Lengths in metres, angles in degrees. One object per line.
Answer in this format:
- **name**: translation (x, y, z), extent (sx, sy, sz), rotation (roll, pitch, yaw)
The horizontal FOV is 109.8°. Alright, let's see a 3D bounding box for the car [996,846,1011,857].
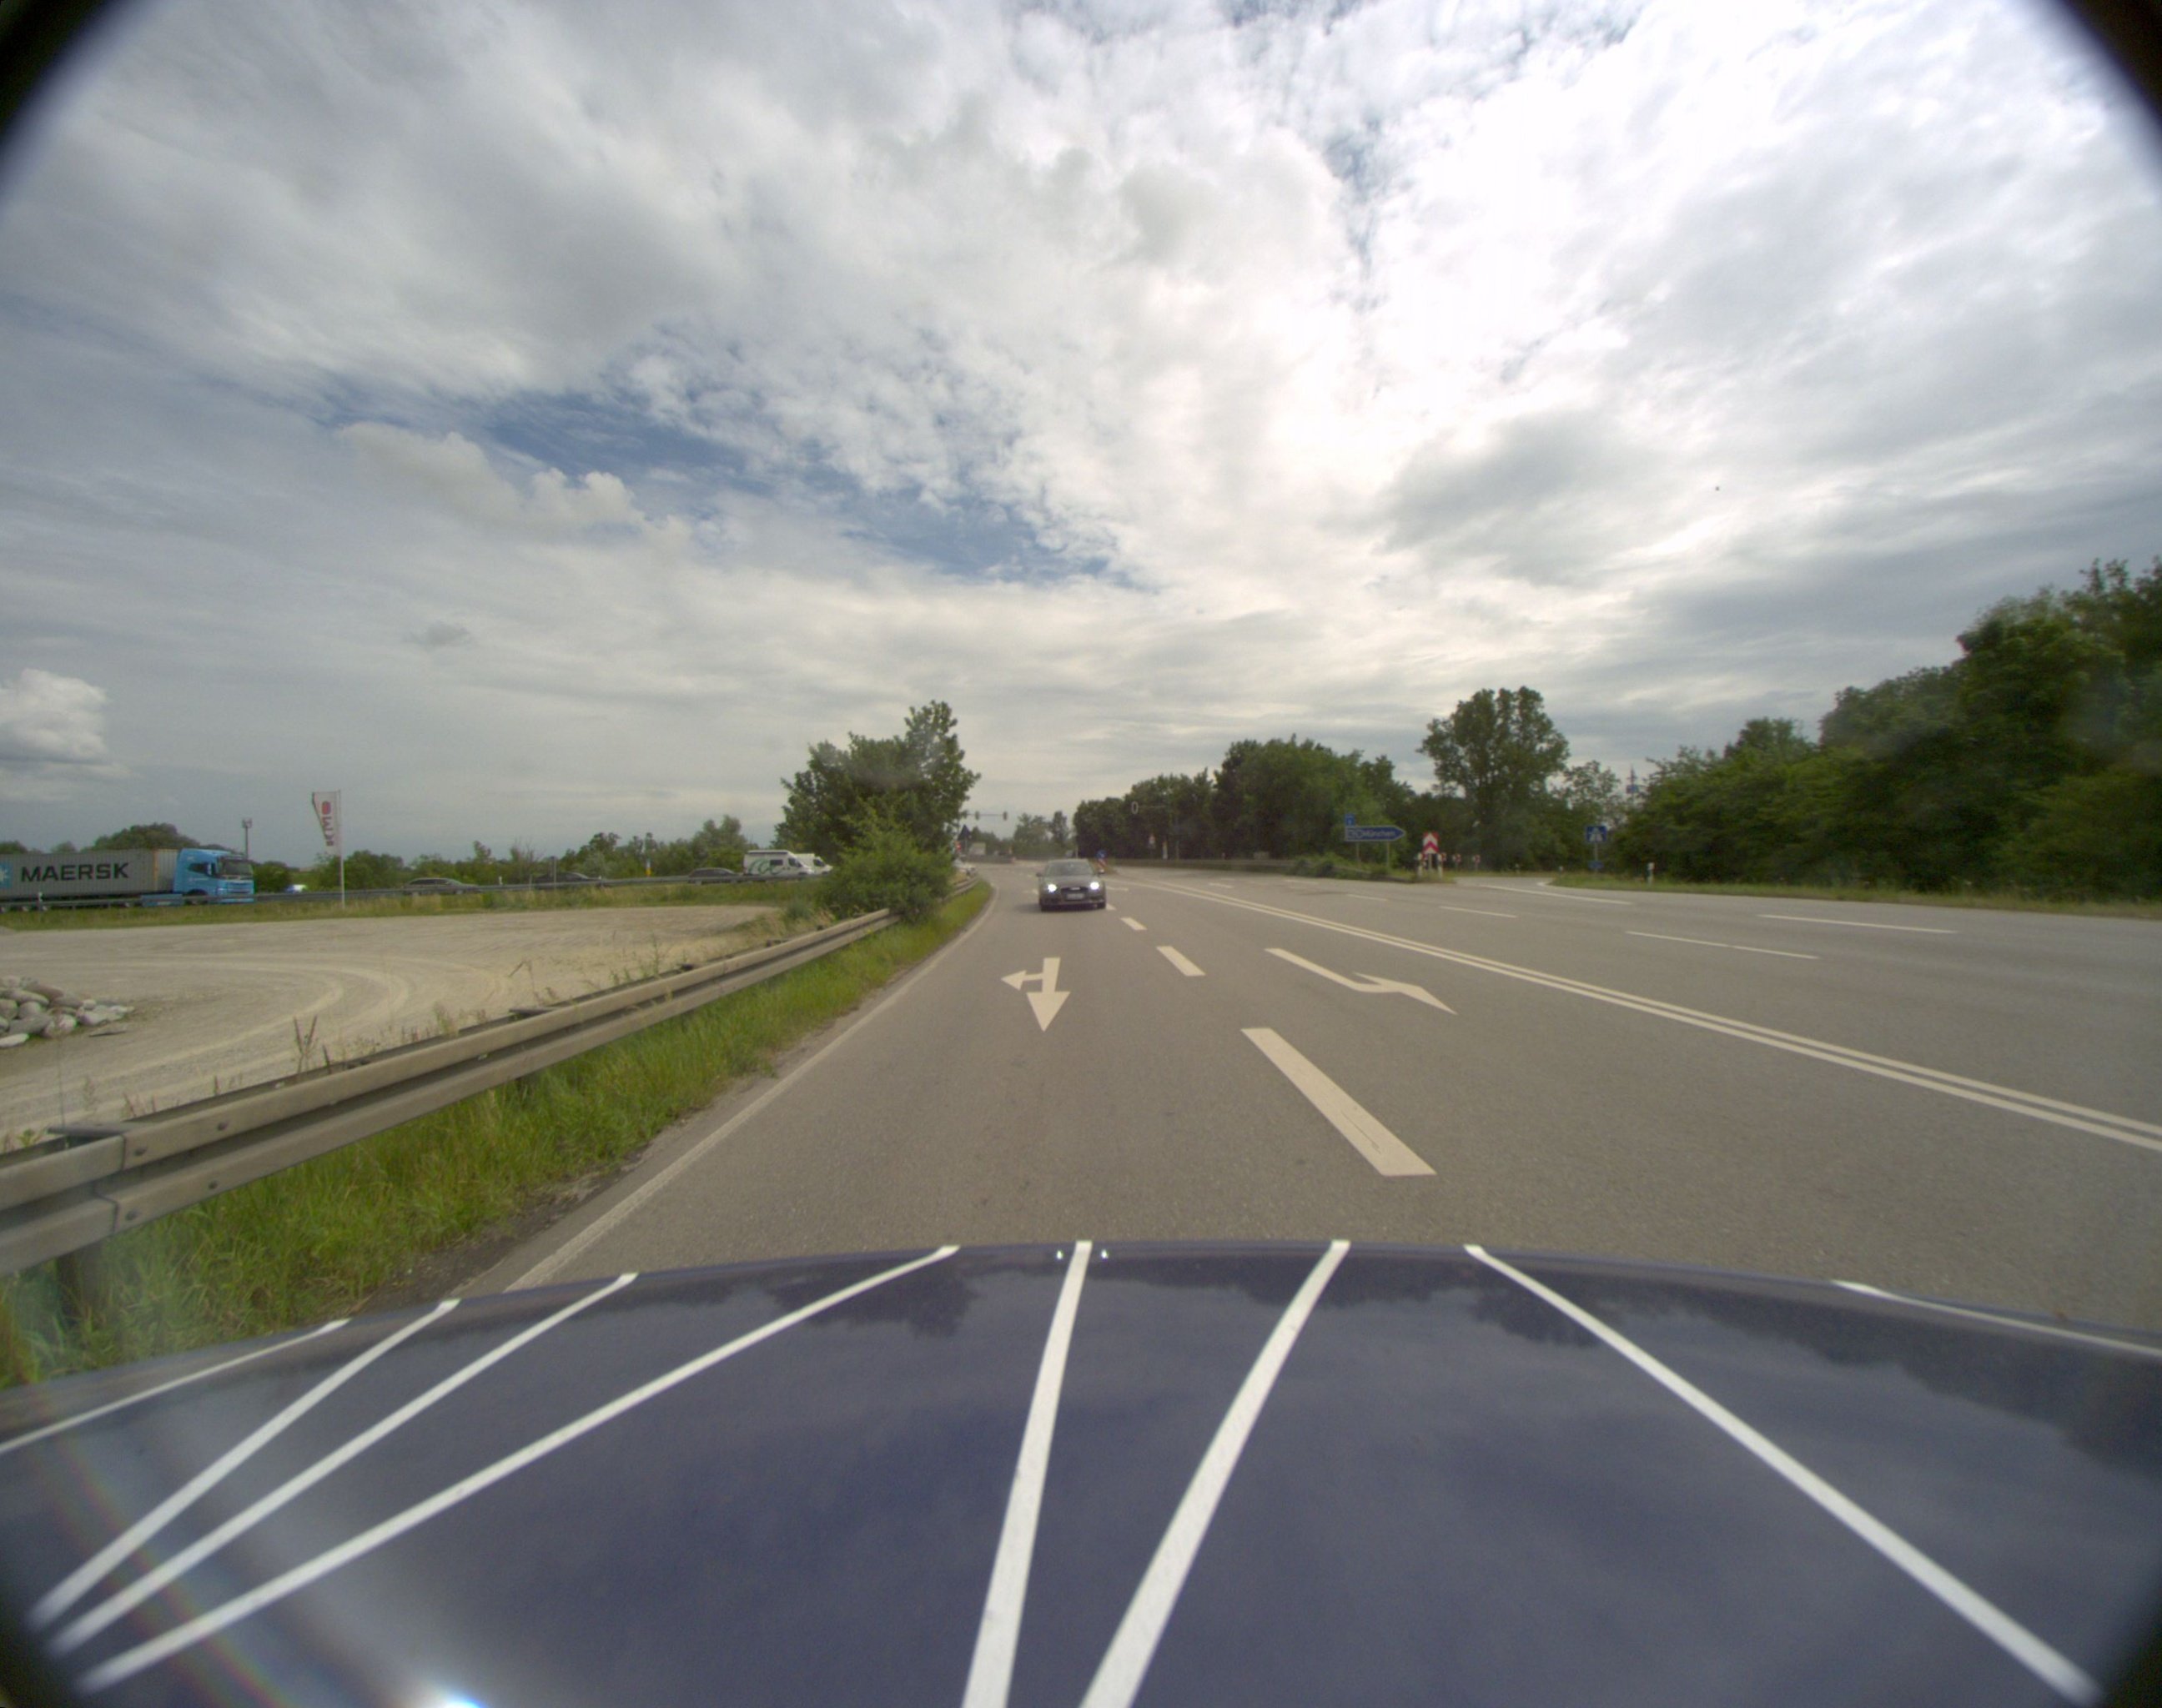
- **car**: translation (-15.152, -0.477, 148.167), extent (2.001, 2.002, 3.994), rotation (-3, 1, -18)

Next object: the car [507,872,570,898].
- **car**: translation (-47.972, 2.707, 67.248), extent (4.001, 2.002, 1.929), rotation (-3, 0, -14)

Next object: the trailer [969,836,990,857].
- **trailer**: translation (-23.476, -1.705, 175.715), extent (3.498, 4.488, 10.932), rotation (-3, 1, -14)

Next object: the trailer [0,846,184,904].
- **trailer**: translation (-67.629, 1.445, 51.158), extent (11.225, 3.290, 2.392), rotation (-3, 0, -1)

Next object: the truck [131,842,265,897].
- **truck**: translation (-59.866, 1.026, 51.646), extent (5.596, 3.285, 2.390), rotation (-3, 0, -8)

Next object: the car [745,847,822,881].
- **car**: translation (-23.985, 0.827, 61.492), extent (5.421, 2.552, 2.457), rotation (-1, 0, -14)

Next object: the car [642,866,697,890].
- **car**: translation (-37.881, 2.196, 70.035), extent (4.001, 2.002, 1.929), rotation (-3, 0, -14)

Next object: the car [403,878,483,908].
- **car**: translation (-46.495, 2.838, 55.445), extent (4.002, 2.001, 1.929), rotation (-1, 0, -14)

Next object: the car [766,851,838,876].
- **car**: translation (-25.256, 0.839, 68.996), extent (5.900, 2.002, 2.059), rotation (-3, 0, -14)

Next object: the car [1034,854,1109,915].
- **car**: translation (-0.346, 0.826, 22.647), extent (1.958, 1.527, 3.998), rotation (-3, 1, -3)

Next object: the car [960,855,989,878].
- **car**: translation (-8.091, 0.924, 58.073), extent (2.021, 1.603, 4.278), rotation (-3, 0, -7)

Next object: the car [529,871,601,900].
- **car**: translation (-38.678, 2.318, 57.084), extent (4.002, 2.001, 1.929), rotation (-1, 0, -14)

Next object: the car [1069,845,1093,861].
- **car**: translation (-0.001, -0.122, 98.178), extent (2.001, 2.002, 3.994), rotation (-3, 1, -15)
